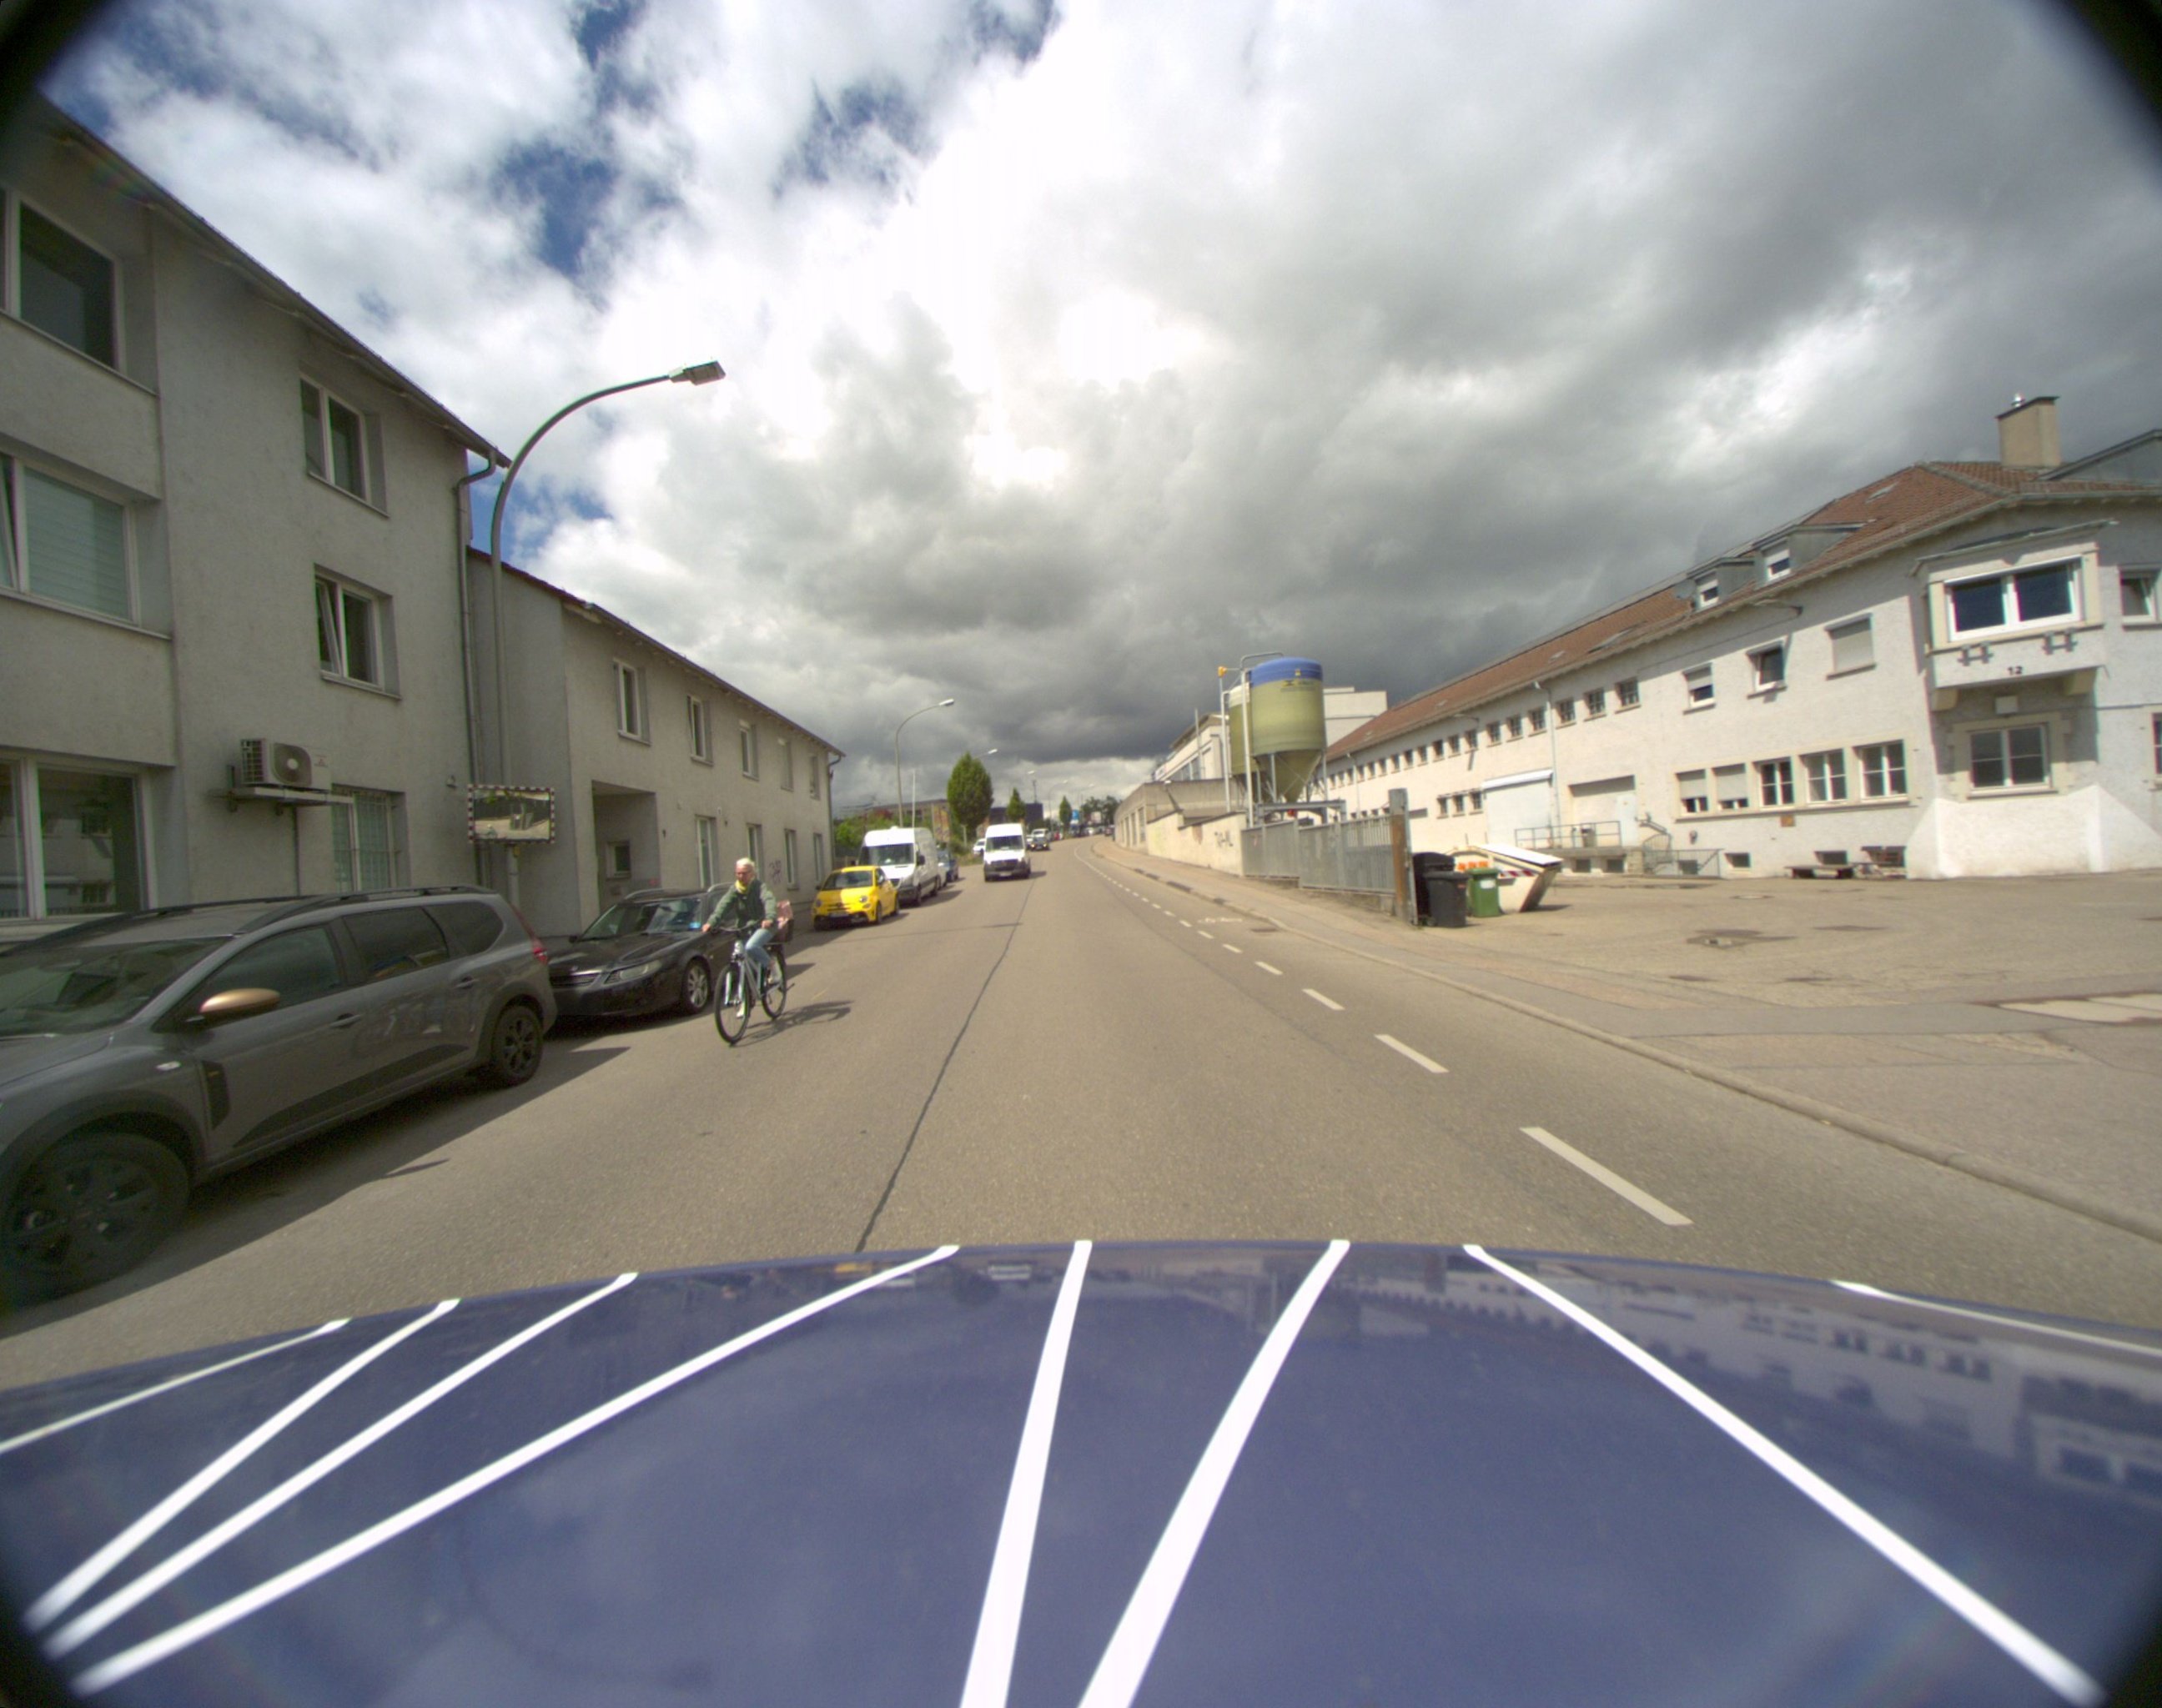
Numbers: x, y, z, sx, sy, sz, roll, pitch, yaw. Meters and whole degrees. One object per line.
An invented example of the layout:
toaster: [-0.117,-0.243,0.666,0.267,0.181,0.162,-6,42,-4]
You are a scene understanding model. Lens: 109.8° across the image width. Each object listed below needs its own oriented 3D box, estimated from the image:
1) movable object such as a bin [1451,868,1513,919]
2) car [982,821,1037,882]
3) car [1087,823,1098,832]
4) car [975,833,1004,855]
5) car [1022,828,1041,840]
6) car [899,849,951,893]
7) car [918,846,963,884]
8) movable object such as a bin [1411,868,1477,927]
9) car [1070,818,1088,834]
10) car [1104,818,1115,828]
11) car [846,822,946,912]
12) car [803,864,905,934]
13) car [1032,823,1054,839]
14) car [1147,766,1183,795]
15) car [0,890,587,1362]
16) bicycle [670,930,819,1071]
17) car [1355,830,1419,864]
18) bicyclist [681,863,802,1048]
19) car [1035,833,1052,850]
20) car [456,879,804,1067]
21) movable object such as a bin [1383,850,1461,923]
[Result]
movable object such as a bin: [8.574,0.829,16.280,0.736,0.996,0.857,-4,1,-19]
car: [-3.342,-0.258,36.854,2.082,2.577,6.058,-4,3,-1]
car: [2.312,-5.123,147.214,1.401,1.425,3.446,-3,3,12]
car: [-7.633,-0.879,63.519,1.847,1.557,4.463,-2,3,0]
car: [-6.396,-2.610,98.912,1.640,1.379,4.205,-3,3,8]
car: [-6.592,0.679,32.492,1.597,1.502,3.787,-4,3,-4]
car: [-6.881,0.499,37.556,1.571,1.502,4.091,-4,3,-3]
movable object such as a bin: [6.802,0.800,14.273,0.874,1.044,0.740,-1,1,1]
car: [-0.310,-5.054,136.044,2.058,2.580,5.736,-3,3,12]
car: [4.895,-5.455,132.483,1.804,1.613,4.091,-2,3,1]
car: [-6.255,0.312,26.713,2.039,2.626,7.278,-4,2,-4]
car: [-5.895,1.105,20.159,1.597,1.439,3.788,-4,2,-2]
car: [-5.283,-3.298,106.916,1.979,1.993,5.547,-3,3,9]
car: [5.646,-4.917,51.287,1.811,1.628,4.101,-4,3,-1]
car: [-5.221,1.213,4.540,1.682,1.629,4.793,-6,0,-6]
bicycle: [-3.223,1.362,7.478,0.742,0.970,1.731,-4,2,-5]
car: [17.058,-0.455,42.602,1.811,1.628,4.101,-4,3,-1]
bicyclist: [-3.241,0.940,7.335,0.742,1.618,0.731,-4,3,-5]
car: [-3.787,-1.264,76.574,1.585,1.498,3.954,-4,3,-3]
car: [-5.370,1.257,10.057,1.709,1.501,5.085,-6,1,-4]
movable object such as a bin: [6.807,0.618,15.245,0.993,1.385,1.215,-1,1,-1]
